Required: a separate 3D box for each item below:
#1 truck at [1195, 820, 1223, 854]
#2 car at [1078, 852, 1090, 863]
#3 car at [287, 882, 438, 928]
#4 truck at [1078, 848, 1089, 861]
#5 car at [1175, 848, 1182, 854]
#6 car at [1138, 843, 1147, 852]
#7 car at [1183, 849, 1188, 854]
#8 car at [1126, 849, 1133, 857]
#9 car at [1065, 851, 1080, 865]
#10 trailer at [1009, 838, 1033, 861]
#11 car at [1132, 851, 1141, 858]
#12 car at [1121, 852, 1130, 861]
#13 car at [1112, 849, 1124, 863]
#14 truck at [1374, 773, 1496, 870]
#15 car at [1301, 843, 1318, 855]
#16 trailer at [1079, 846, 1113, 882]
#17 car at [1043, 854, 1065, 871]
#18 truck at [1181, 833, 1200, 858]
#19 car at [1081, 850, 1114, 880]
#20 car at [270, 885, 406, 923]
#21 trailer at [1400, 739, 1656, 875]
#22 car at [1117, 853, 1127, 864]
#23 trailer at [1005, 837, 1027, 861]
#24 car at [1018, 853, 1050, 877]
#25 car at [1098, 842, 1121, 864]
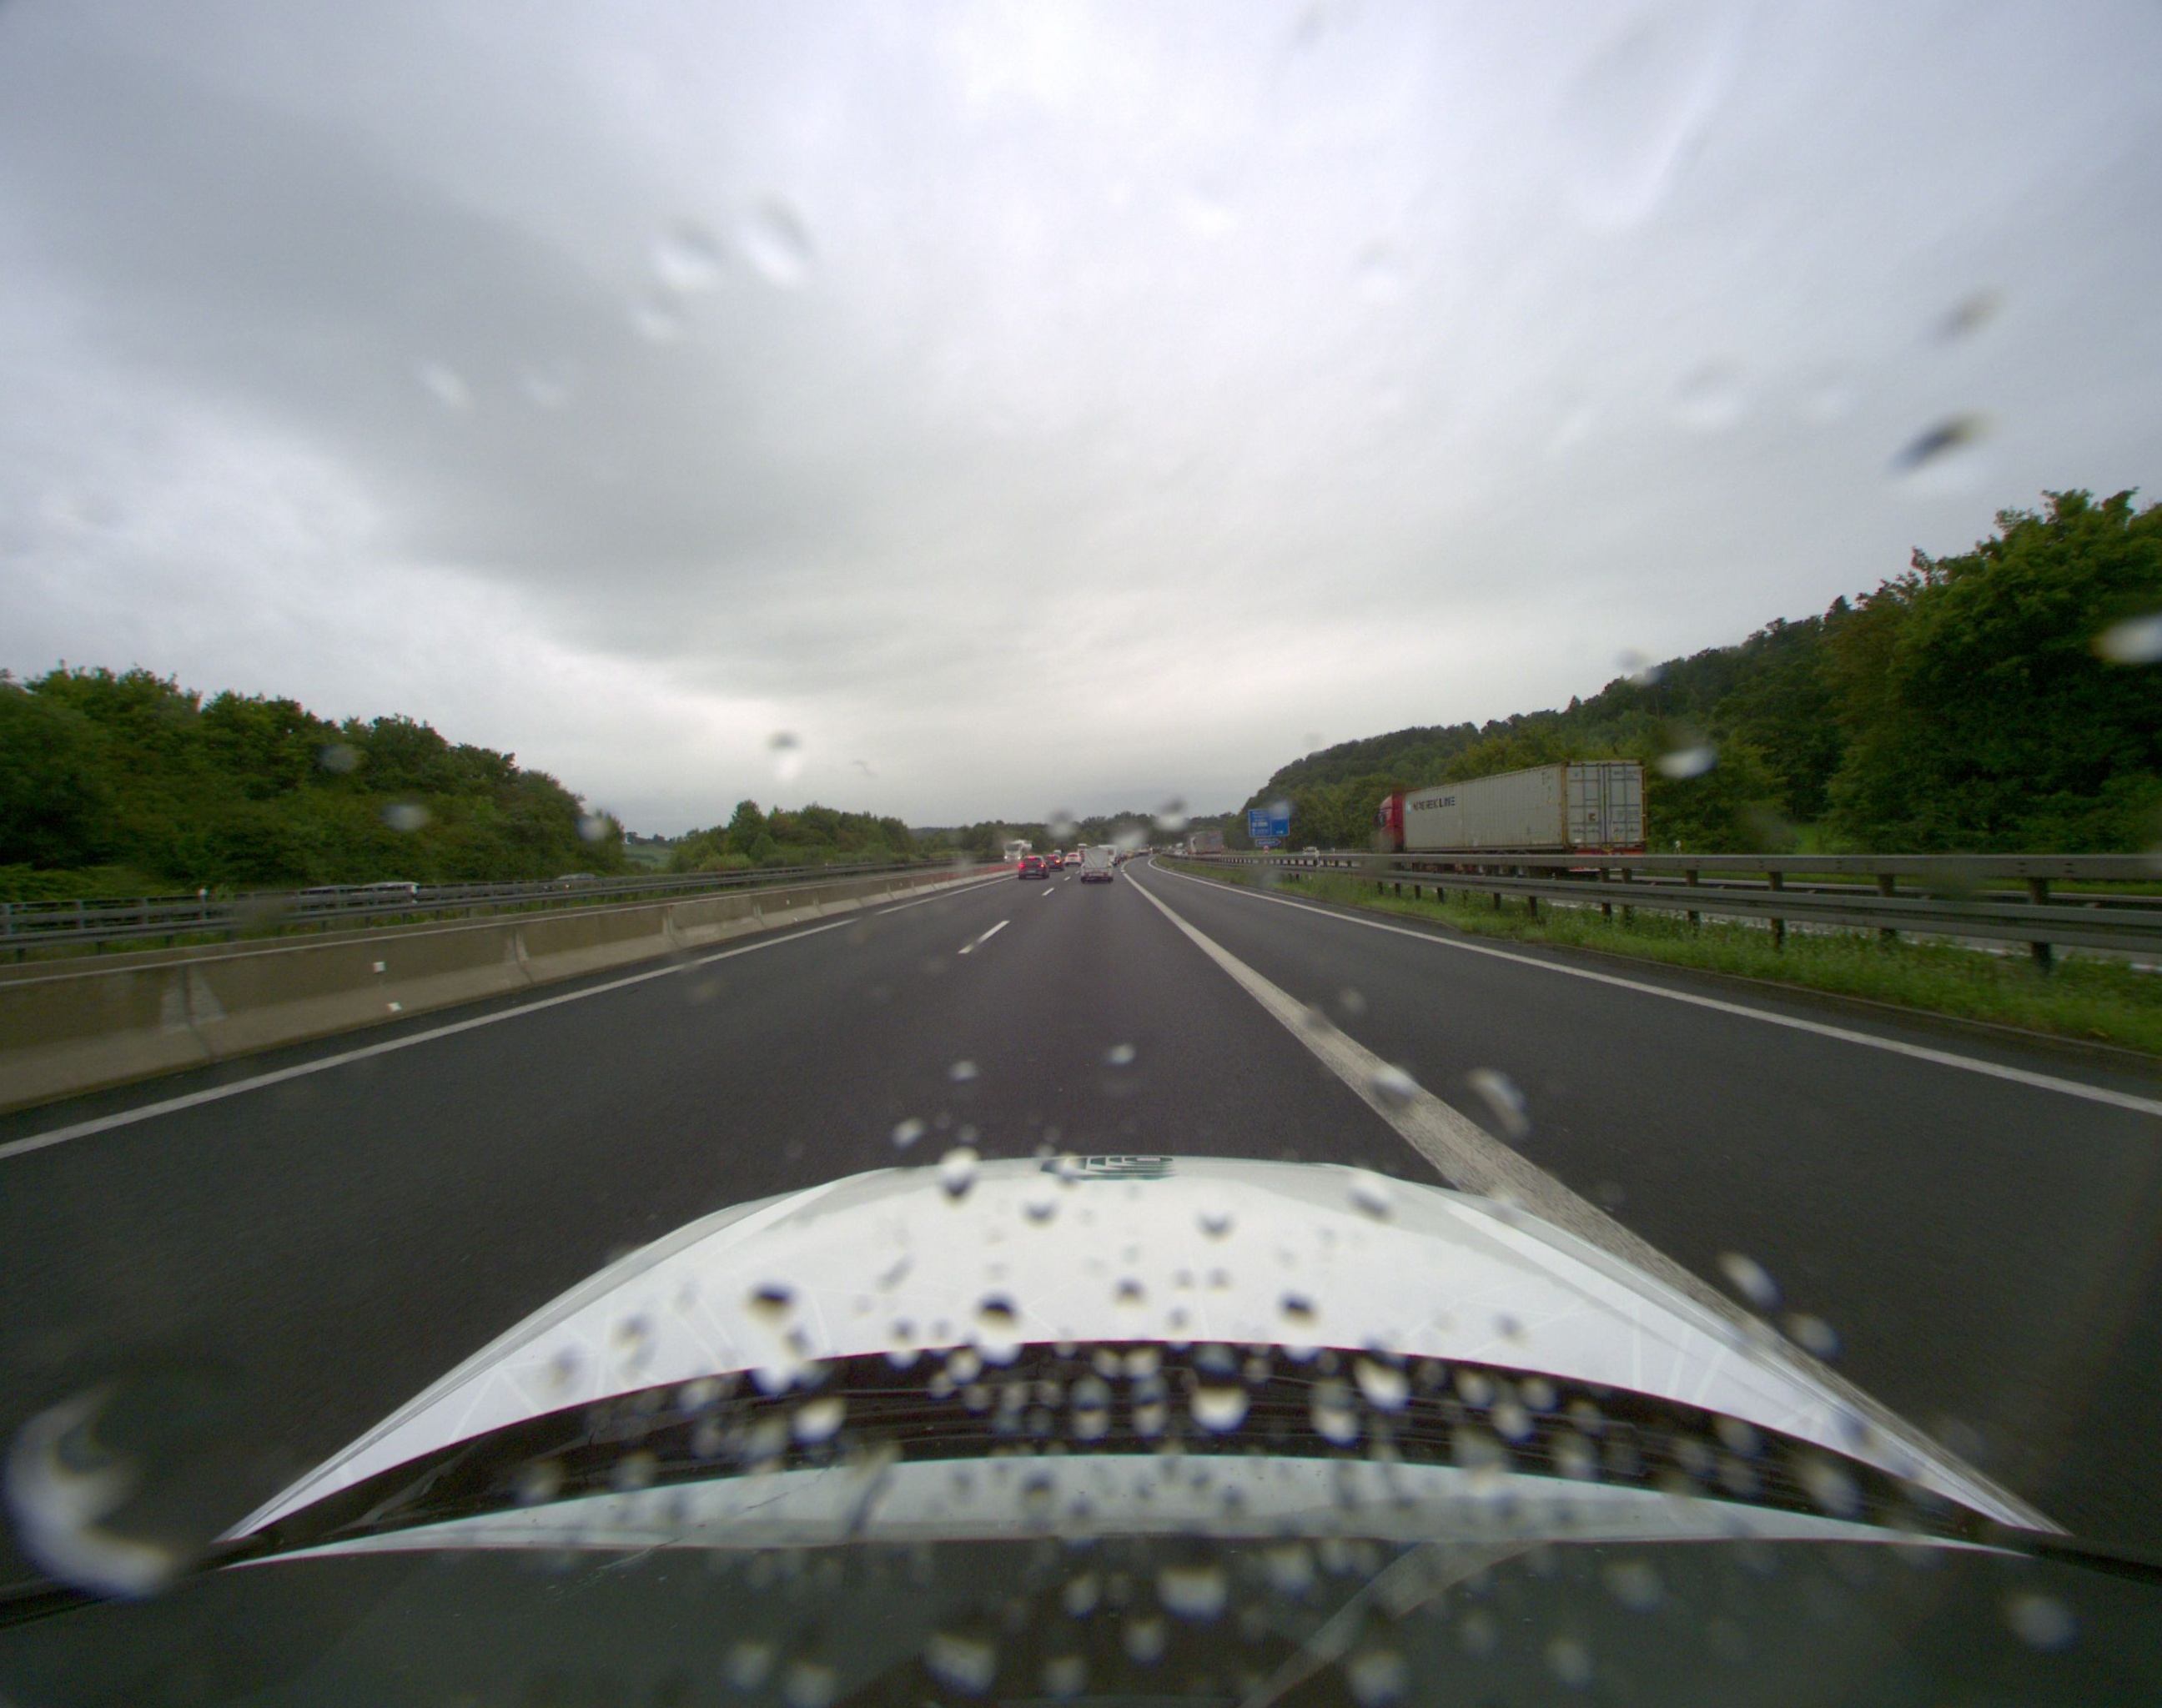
[{"bbox_3d":[18.863,-2.356,121.077,3.200,4.666,13.051,-1,0,5],"label":"truck"},{"bbox_3d":[0.450,0.480,121.887,1.769,1.640,4.044,-1,0,1],"label":"car"},{"bbox_3d":[-27.301,1.893,31.173,1.811,1.456,4.273,-1,0,3],"label":"car"},{"bbox_3d":[0.661,0.159,231.595,2.876,3.749,5.947,-1,0,2],"label":"truck"},{"bbox_3d":[25.227,-0.702,210.051,1.666,1.456,4.009,-1,0,8],"label":"car"},{"bbox_3d":[17.900,-1.966,236.031,2.503,2.574,5.321,-1,0,6],"label":"car"},{"bbox_3d":[32.376,-0.733,251.848,1.667,1.456,4.008,-1,0,7],"label":"car"},{"bbox_3d":[11.359,-0.163,190.341,1.668,1.812,4.004,-1,0,4],"label":"car"},{"bbox_3d":[-1.012,0.533,99.165,1.769,1.640,4.044,-1,0,1],"label":"car"},{"bbox_3d":[-10.133,-0.747,138.649,2.625,3.736,10.820,-1,0,3],"label":"trailer"},{"bbox_3d":[14.072,0.140,206.838,2.026,1.683,4.008,-1,0,7],"label":"car"},{"bbox_3d":[8.851,0.464,162.930,1.668,1.812,4.004,-1,0,4],"label":"car"},{"bbox_3d":[5.477,0.332,119.847,1.669,2.067,4.002,-1,0,2],"label":"car"},{"bbox_3d":[15.460,-1.310,36.108,2.607,3.884,6.392,-1,0,1],"label":"truck"},{"bbox_3d":[29.373,-0.583,104.440,1.661,1.456,4.021,-1,0,21],"label":"car"},{"bbox_3d":[0.865,0.533,44.217,1.669,1.812,4.003,-1,0,3],"label":"trailer"},{"bbox_3d":[-2.440,0.758,73.950,1.759,1.456,4.001,-1,0,1],"label":"car"},{"bbox_3d":[21.407,-1.609,159.895,3.200,4.666,13.052,-1,0,6],"label":"truck"},{"bbox_3d":[1.021,0.624,48.050,1.811,1.616,4.780,-1,0,2],"label":"car"},{"bbox_3d":[-34.223,2.257,37.730,1.812,1.456,4.779,-1,0,1],"label":"car"},{"bbox_3d":[15.393,-1.339,29.808,2.595,3.894,12.491,-1,0,1],"label":"trailer"},{"bbox_3d":[7.343,0.809,146.252,1.668,1.812,4.004,-1,0,4],"label":"car"},{"bbox_3d":[-10.547,-0.759,132.529,2.625,3.715,6.499,-1,0,4],"label":"trailer"},{"bbox_3d":[-2.970,0.674,52.106,1.670,1.456,4.001,-1,0,1],"label":"car"},{"bbox_3d":[3.476,-0.081,98.704,2.497,2.585,5.705,-1,0,4],"label":"car"}]
